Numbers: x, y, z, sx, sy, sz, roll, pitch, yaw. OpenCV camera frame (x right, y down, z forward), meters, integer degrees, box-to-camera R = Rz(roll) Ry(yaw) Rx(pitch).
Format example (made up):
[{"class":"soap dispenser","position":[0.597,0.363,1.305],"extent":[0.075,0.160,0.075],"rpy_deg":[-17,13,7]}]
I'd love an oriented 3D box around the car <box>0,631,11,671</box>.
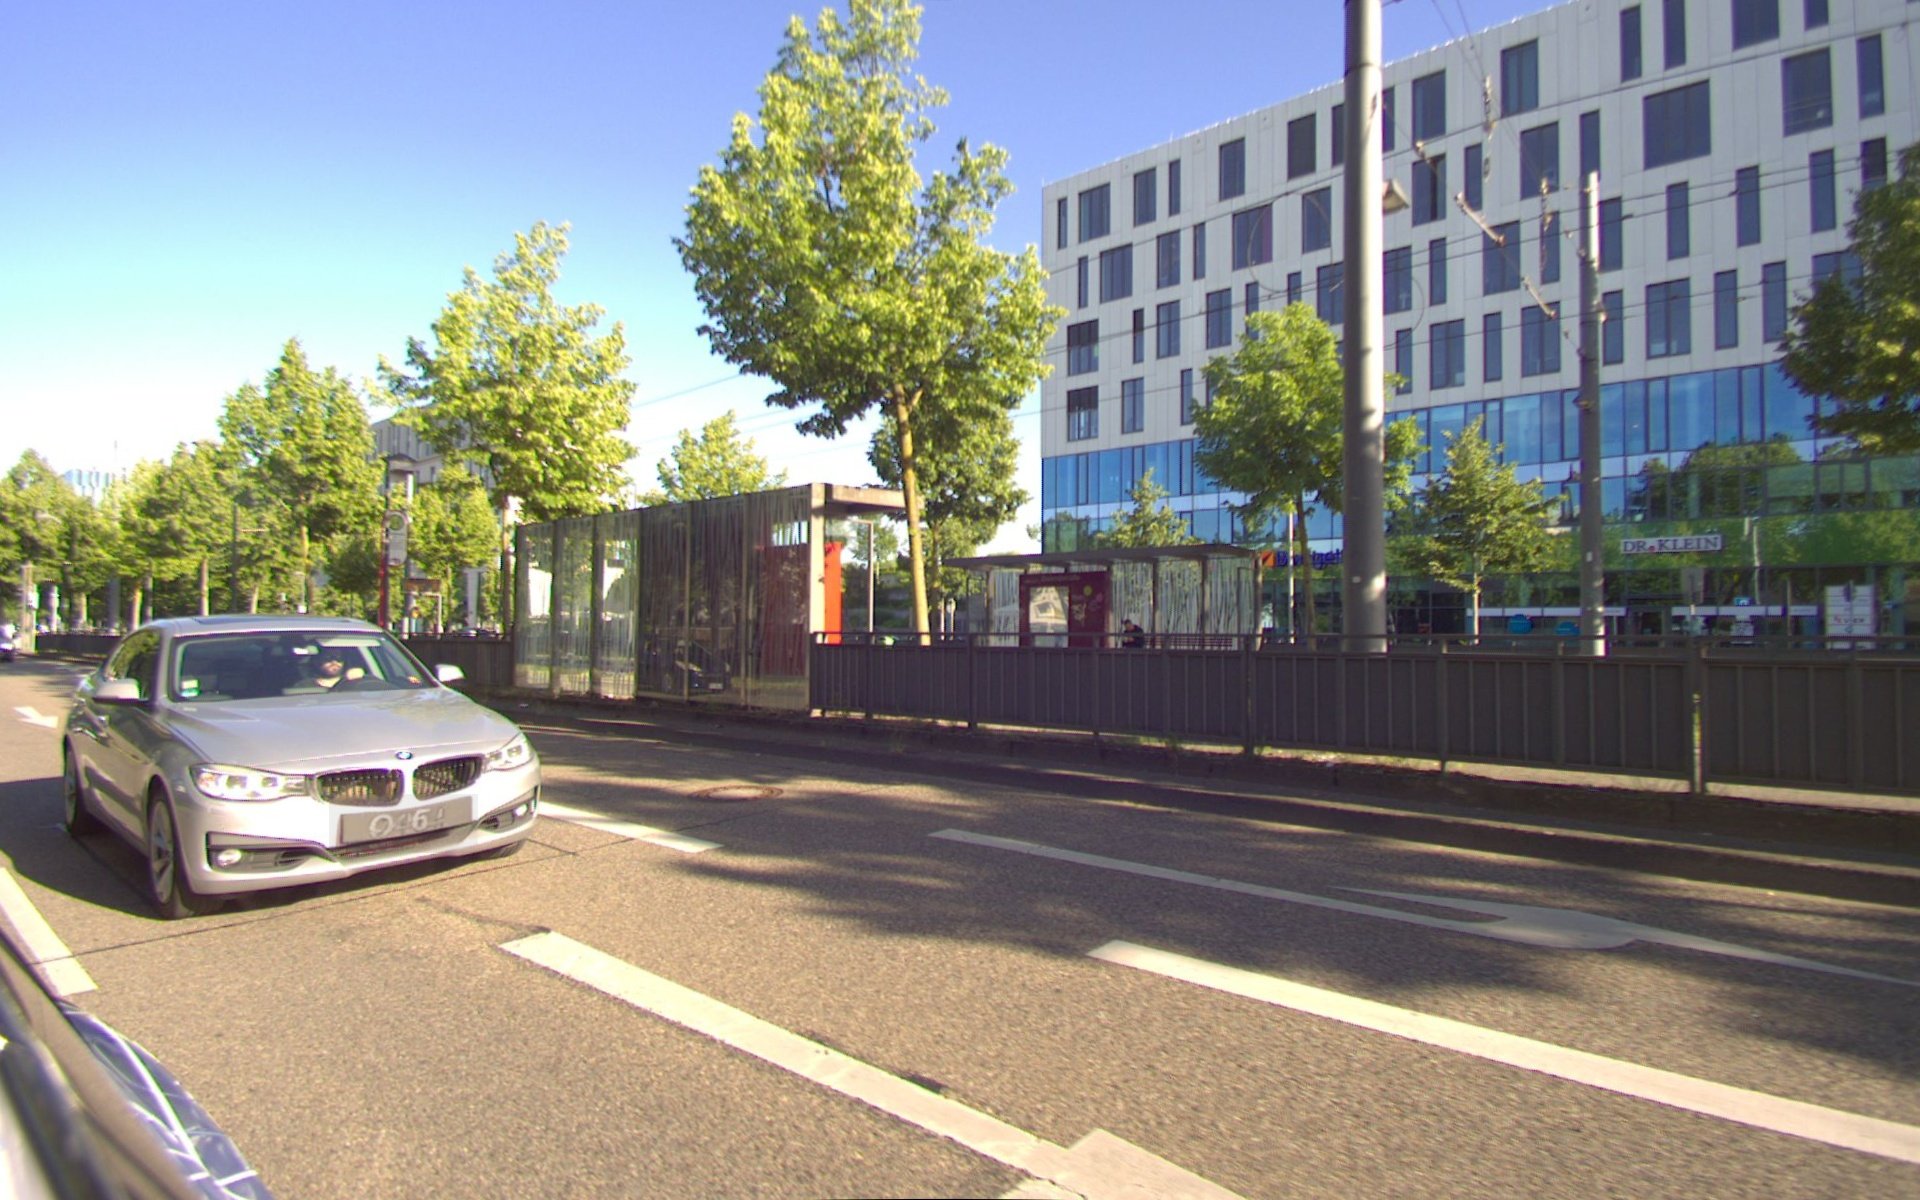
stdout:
[{"class":"car","position":[-39.295,2.026,40.253],"extent":[4.340,1.538,1.780],"rpy_deg":[-2,-1,40]}]

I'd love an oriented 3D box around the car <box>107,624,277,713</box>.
[{"class":"car","position":[-15.183,1.269,19.936],"extent":[4.340,1.538,1.780],"rpy_deg":[-2,-1,40]}]

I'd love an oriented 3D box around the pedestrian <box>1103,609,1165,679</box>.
[{"class":"pedestrian","position":[3.783,0.943,21.972],"extent":[1.053,1.477,0.845],"rpy_deg":[1,-2,-44]}]

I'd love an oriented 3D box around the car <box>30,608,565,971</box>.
[{"class":"car","position":[-4.617,0.867,6.649],"extent":[4.909,1.538,1.779],"rpy_deg":[-2,-1,42]}]
